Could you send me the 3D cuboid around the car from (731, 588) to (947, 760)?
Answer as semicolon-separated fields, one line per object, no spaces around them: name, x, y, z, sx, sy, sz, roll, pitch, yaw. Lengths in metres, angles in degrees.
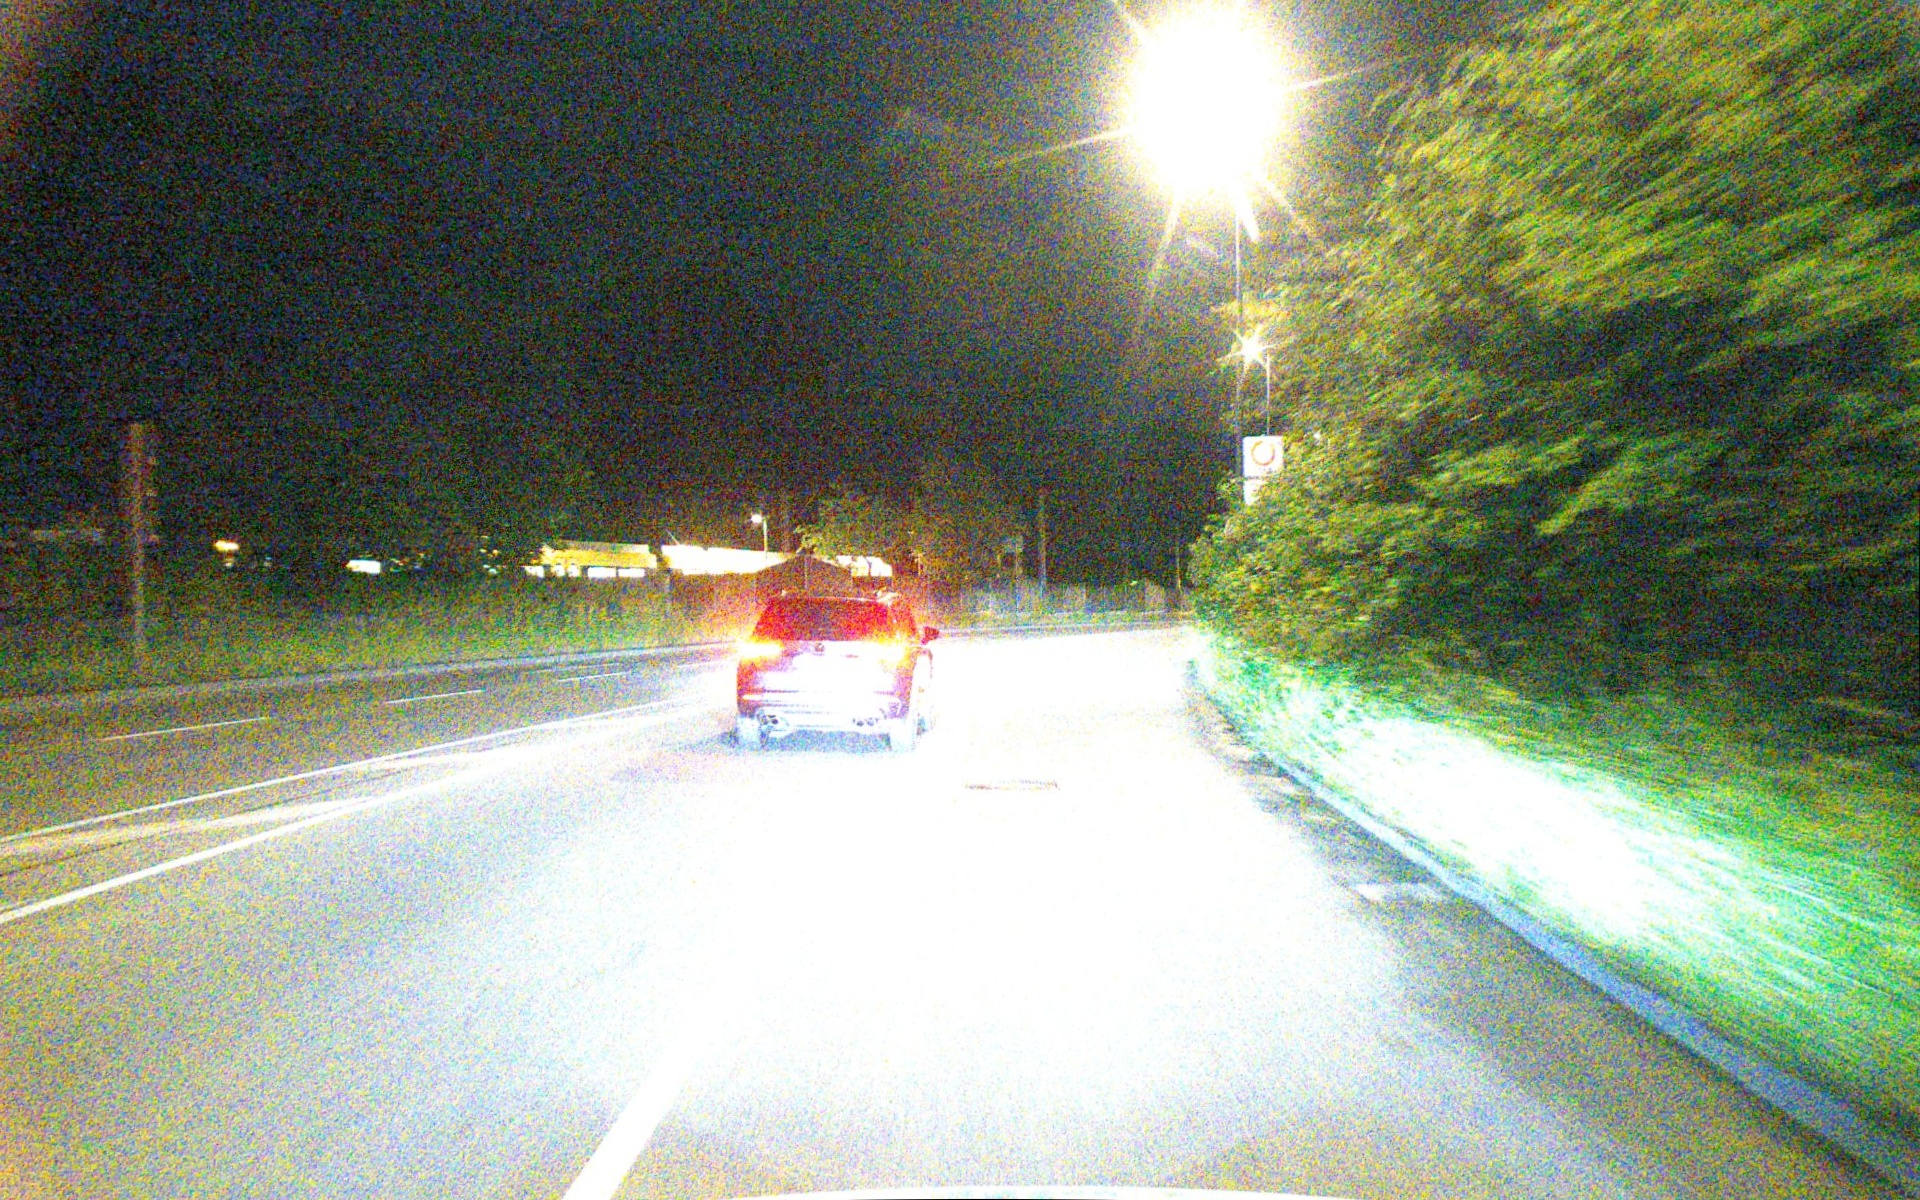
car;-1.159;0.685;17.550;1.777;1.601;3.945;1;0;3
